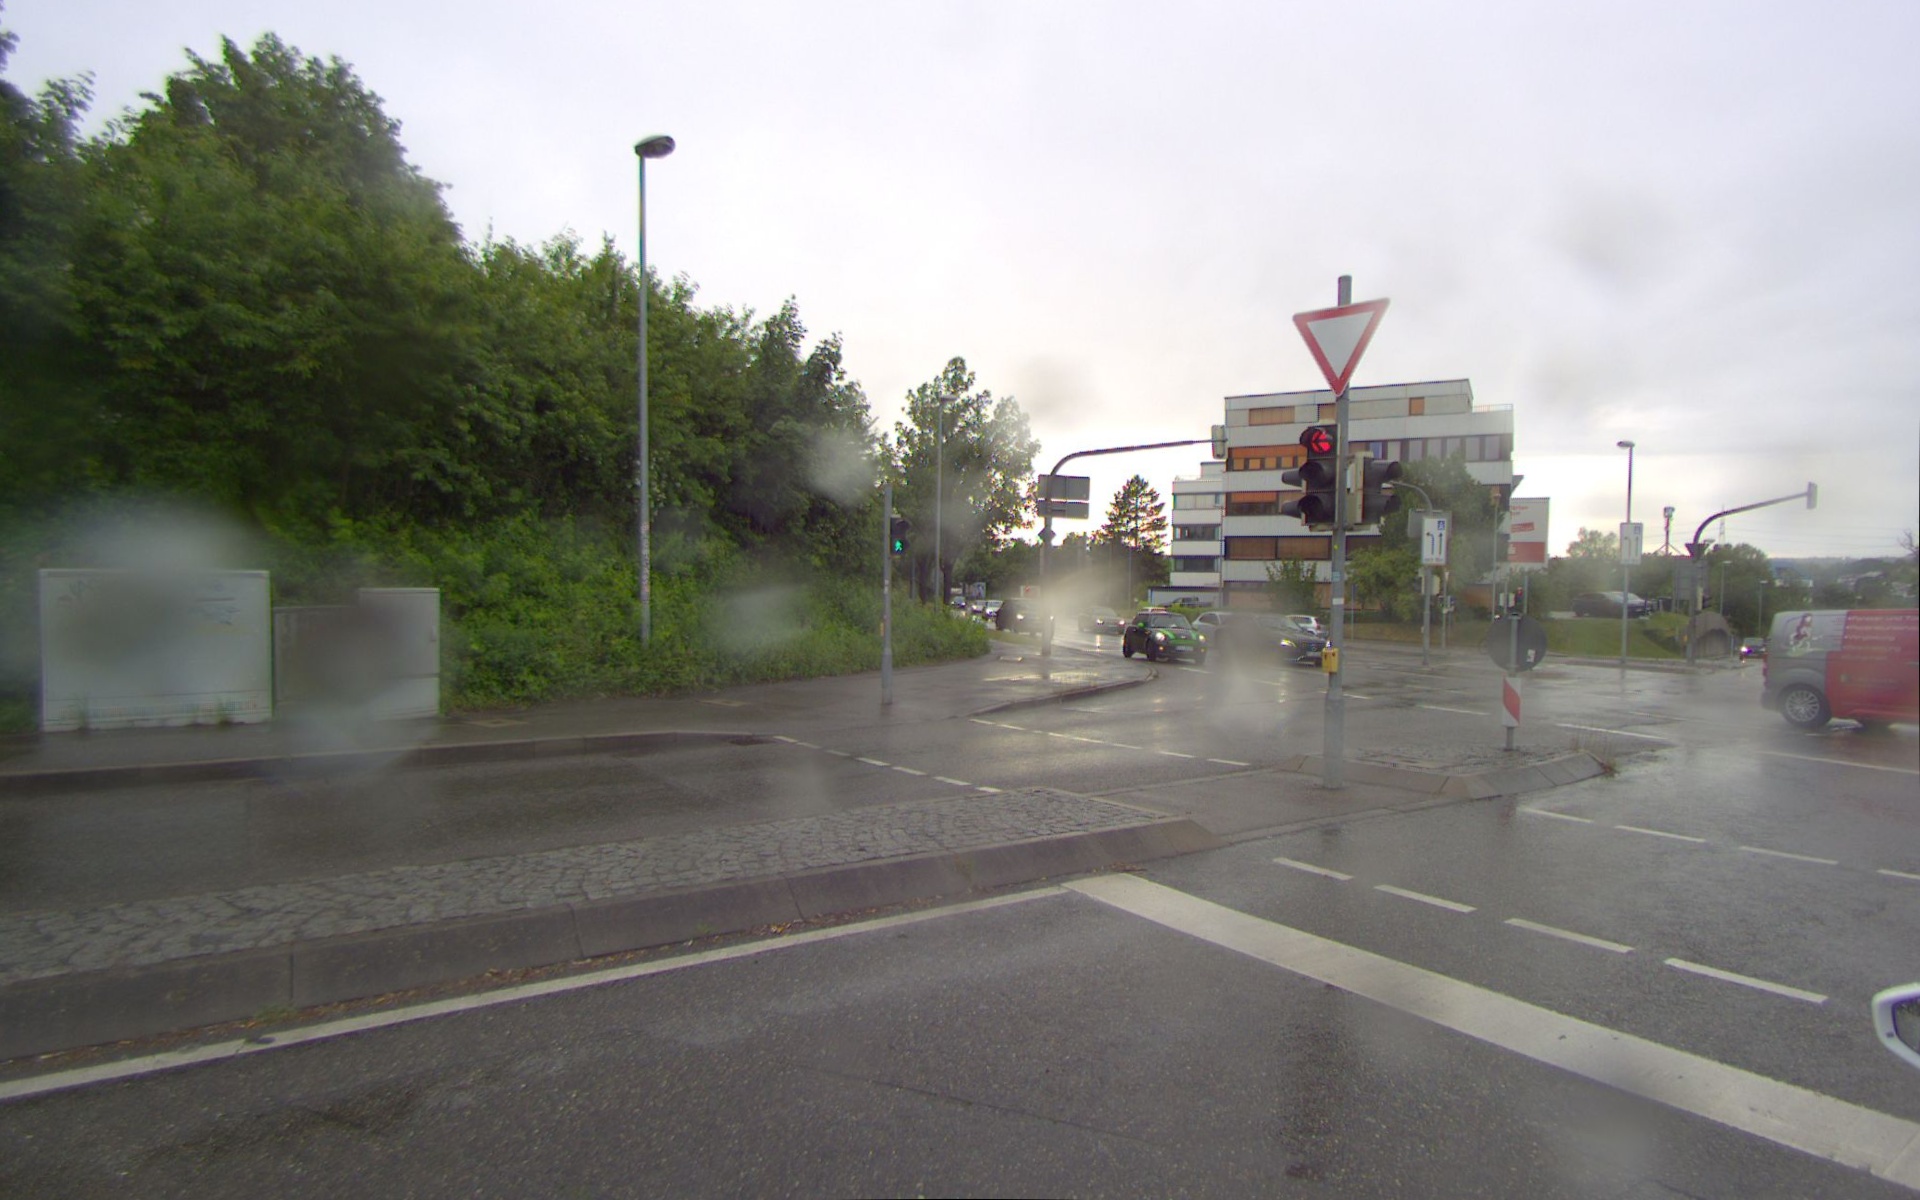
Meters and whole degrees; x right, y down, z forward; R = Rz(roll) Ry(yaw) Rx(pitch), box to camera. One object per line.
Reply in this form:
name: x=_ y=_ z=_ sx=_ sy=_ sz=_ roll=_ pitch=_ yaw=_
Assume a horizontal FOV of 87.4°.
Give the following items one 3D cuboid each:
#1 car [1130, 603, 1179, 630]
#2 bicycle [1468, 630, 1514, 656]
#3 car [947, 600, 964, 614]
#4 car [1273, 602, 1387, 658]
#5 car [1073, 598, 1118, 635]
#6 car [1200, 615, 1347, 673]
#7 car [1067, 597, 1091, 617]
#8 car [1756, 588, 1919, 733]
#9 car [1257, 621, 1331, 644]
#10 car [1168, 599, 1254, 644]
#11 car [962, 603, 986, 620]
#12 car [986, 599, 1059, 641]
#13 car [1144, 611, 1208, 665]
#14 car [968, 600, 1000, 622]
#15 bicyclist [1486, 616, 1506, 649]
car: x=12.979 y=1.079 z=67.264 sx=1.921 sy=1.617 sz=3.994 roll=1 pitch=1 yaw=-9
bicycle: x=24.290 y=1.965 z=45.929 sx=0.604 sy=1.066 sz=1.762 roll=1 pitch=1 yaw=-35
car: x=-0.518 y=0.800 z=112.779 sx=1.809 sy=1.534 sz=4.000 roll=1 pitch=0 yaw=1
car: x=13.668 y=1.066 z=37.392 sx=1.966 sy=1.865 sz=4.143 roll=1 pitch=1 yaw=-14
car: x=7.418 y=0.861 z=55.216 sx=1.672 sy=1.862 sz=3.998 roll=1 pitch=1 yaw=-3
car: x=9.504 y=1.297 z=30.899 sx=1.968 sy=1.496 sz=4.655 roll=1 pitch=1 yaw=-18
car: x=11.413 y=0.648 z=96.757 sx=1.960 sy=1.873 sz=4.001 roll=1 pitch=1 yaw=2
car: x=14.514 y=0.871 z=14.255 sx=1.968 sy=2.040 sz=4.770 roll=1 pitch=0 yaw=-17
car: x=18.464 y=1.764 z=55.525 sx=3.462 sy=1.120 sz=1.812 roll=2 pitch=1 yaw=39
car: x=10.289 y=0.840 z=41.494 sx=1.964 sy=1.706 sz=3.992 roll=1 pitch=1 yaw=-10
car: x=1.241 y=1.020 z=91.548 sx=1.821 sy=1.377 sz=4.444 roll=1 pitch=1 yaw=-3
car: x=2.800 y=0.884 z=46.223 sx=1.967 sy=1.725 sz=4.597 roll=1 pitch=1 yaw=-15
car: x=6.298 y=1.067 z=29.556 sx=1.647 sy=1.405 sz=3.462 roll=2 pitch=1 yaw=10
car: x=1.701 y=0.763 z=72.960 sx=1.890 sy=1.436 sz=4.149 roll=1 pitch=1 yaw=-4
bicyclist: x=24.410 y=1.471 z=45.756 sx=0.597 sy=1.465 sz=0.539 roll=1 pitch=1 yaw=-36
